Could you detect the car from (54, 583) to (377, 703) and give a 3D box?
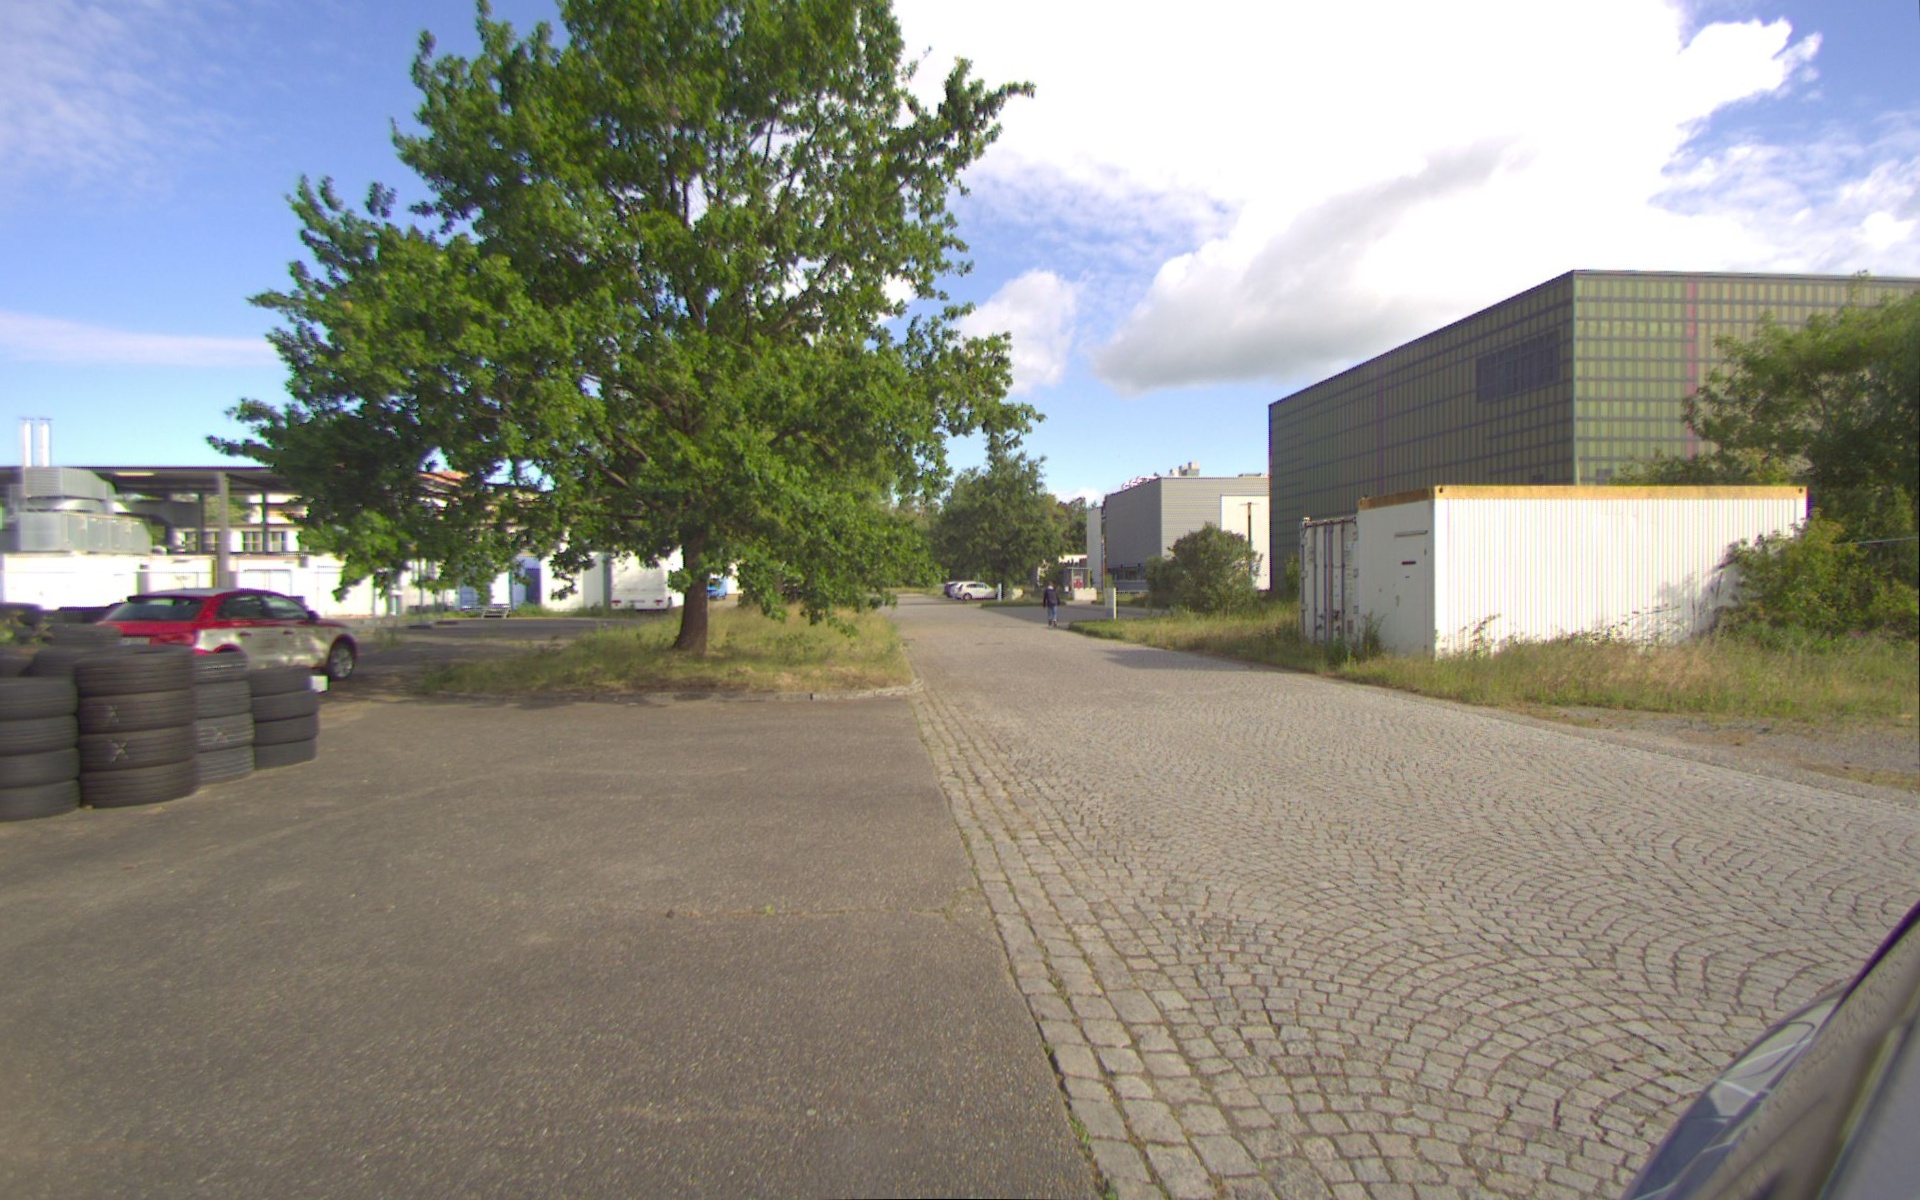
[{"bbox_3d":[-10.474,0.506,14.663,1.696,1.482,3.999,0,1,1],"label":"car"}]

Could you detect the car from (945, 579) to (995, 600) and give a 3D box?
[{"bbox_3d":[0.787,-0.839,81.669,3.924,1.663,2.000,0,1,0],"label":"car"}]

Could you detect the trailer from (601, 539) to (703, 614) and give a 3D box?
[{"bbox_3d":[-15.688,-1.194,52.383,2.869,3.514,9.910,-1,1,-4],"label":"trailer"}]

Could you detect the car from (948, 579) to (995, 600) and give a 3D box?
[{"bbox_3d":[0.934,-0.907,84.347,3.924,1.663,2.000,0,1,0],"label":"car"}]

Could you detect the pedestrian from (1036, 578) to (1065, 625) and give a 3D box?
[{"bbox_3d":[3.119,0.052,35.008,0.851,1.578,1.029,-1,1,-3],"label":"pedestrian"}]
